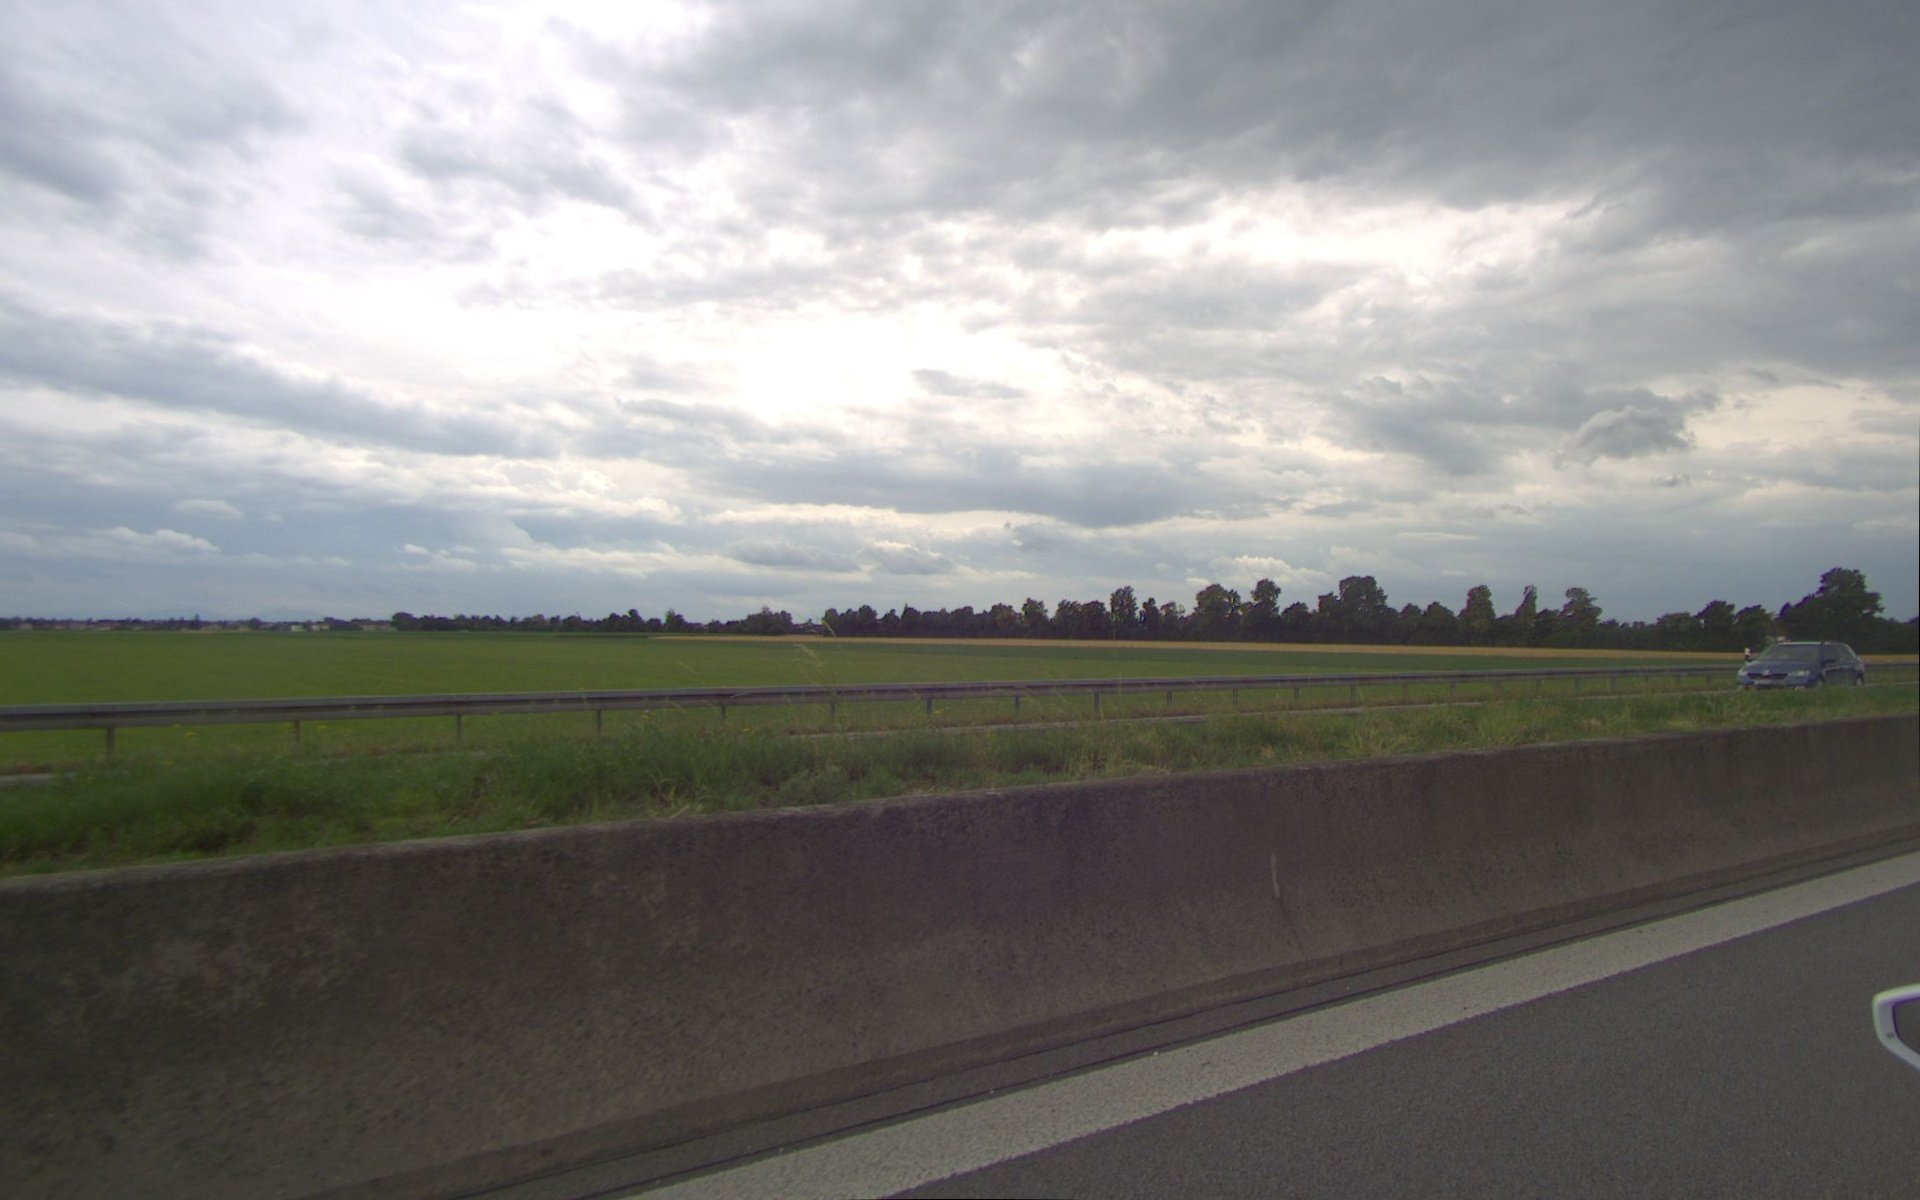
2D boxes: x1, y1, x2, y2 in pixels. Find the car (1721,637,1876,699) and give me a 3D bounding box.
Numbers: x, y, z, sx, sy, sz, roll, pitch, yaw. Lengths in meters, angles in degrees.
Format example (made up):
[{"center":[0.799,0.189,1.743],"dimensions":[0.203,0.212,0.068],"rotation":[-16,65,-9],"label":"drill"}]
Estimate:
[{"center":[22.161,1.751,26.516],"dimensions":[4.477,1.507,1.738],"rotation":[1,-3,-31],"label":"car"}]
